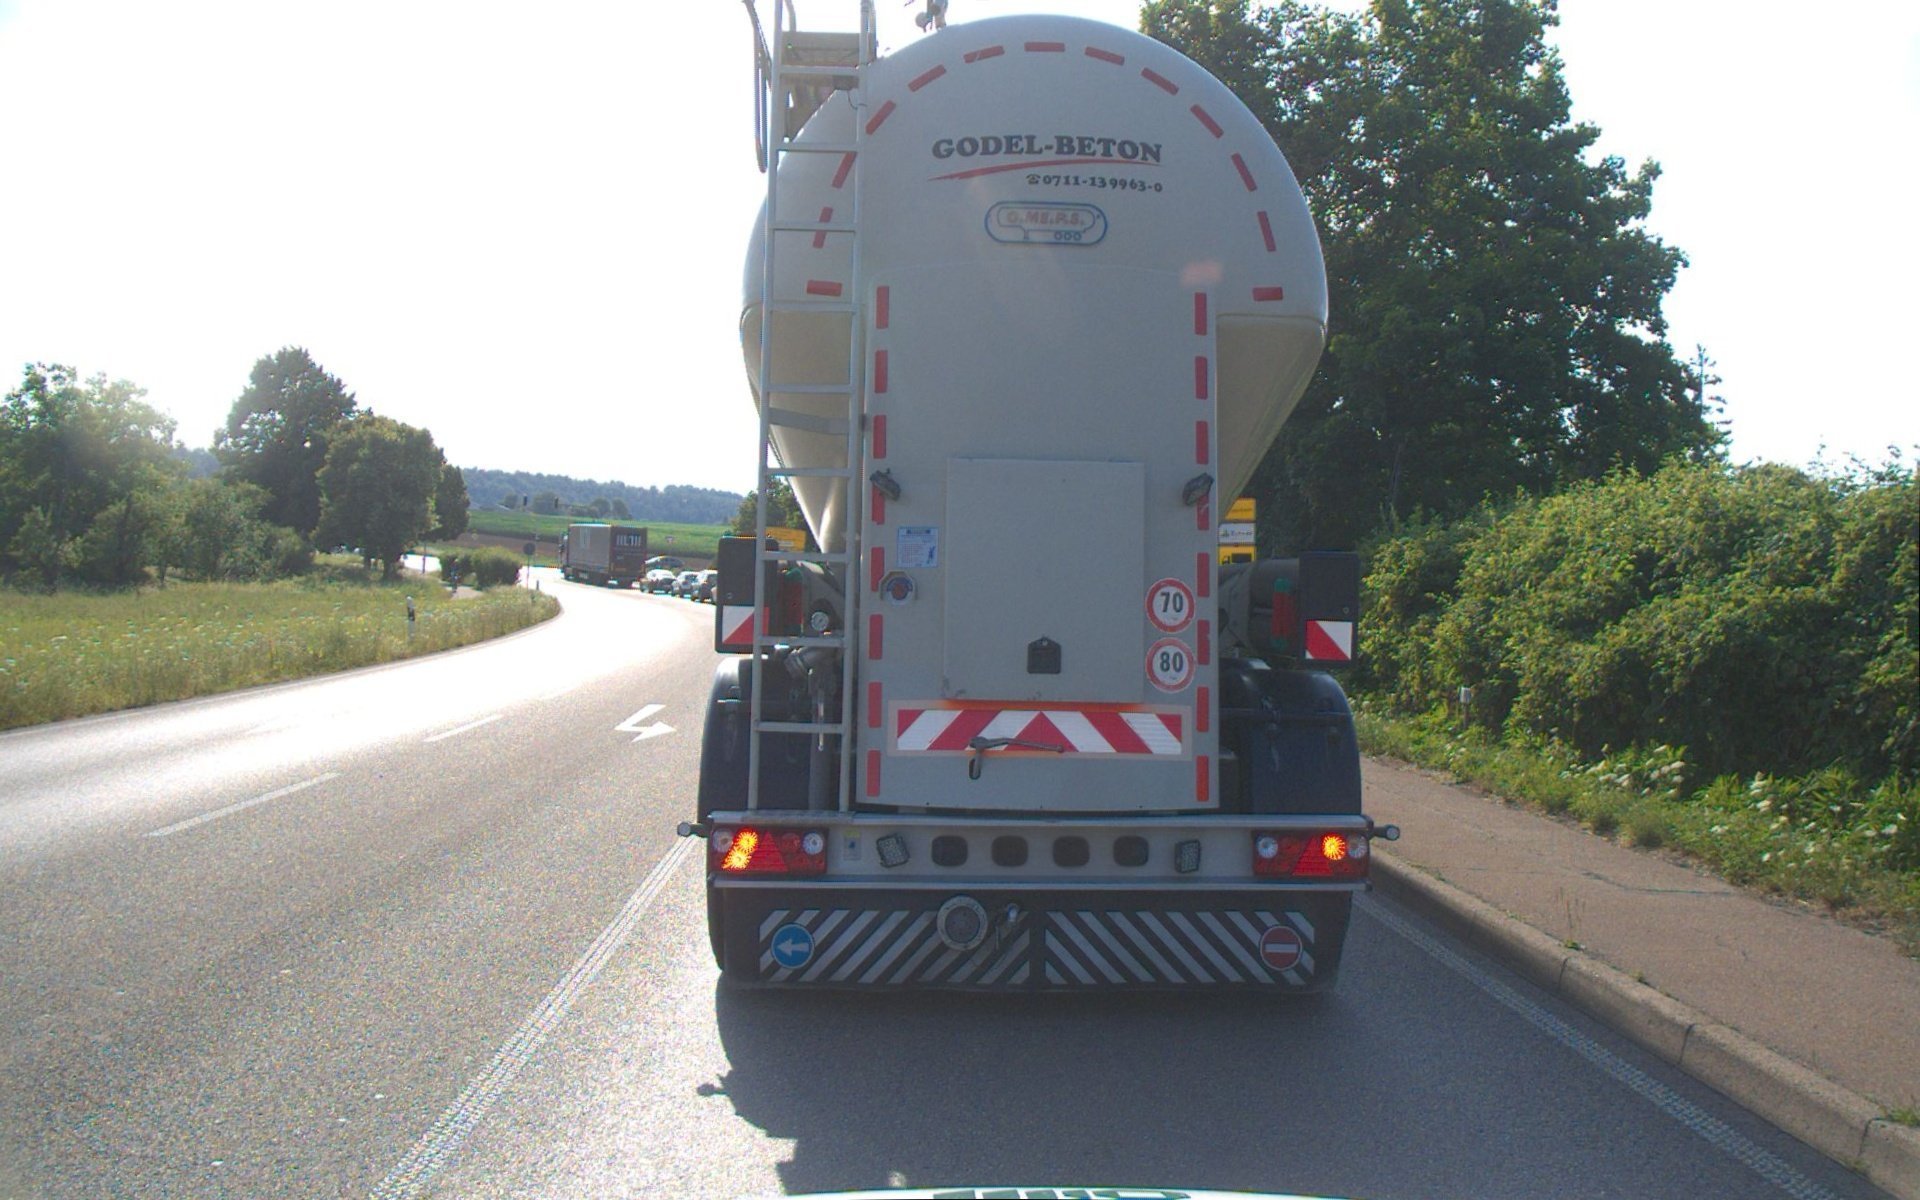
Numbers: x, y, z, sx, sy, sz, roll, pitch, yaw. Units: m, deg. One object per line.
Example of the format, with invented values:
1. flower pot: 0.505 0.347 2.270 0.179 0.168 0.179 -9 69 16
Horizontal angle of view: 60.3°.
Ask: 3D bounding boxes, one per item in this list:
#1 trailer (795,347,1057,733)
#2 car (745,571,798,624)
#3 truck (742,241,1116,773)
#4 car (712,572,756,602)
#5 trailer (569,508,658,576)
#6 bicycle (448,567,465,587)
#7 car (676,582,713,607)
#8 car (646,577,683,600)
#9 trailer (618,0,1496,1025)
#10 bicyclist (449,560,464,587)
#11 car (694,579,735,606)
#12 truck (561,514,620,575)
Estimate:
1. trailer: -0.471 -0.741 26.383 2.895 4.390 14.173 2 0 -1
2. car: -7.673 -0.126 67.031 1.828 2.049 3.709 1 0 -11
3. truck: -0.390 -0.712 14.882 2.853 4.076 4.056 1 0 -5
4. car: -11.135 -0.635 81.333 1.556 1.364 3.408 2 0 -18
5. trailer: -25.124 -4.088 119.239 3.331 4.426 14.190 2 0 -23
6. bicycle: -27.398 -1.245 90.024 0.623 1.093 1.667 3 0 -9
7. car: -15.362 -0.332 95.569 1.556 1.364 3.408 2 0 -18
8. car: -18.203 -0.707 101.861 1.743 1.226 3.408 -5 3 -18
9. trailer: -0.027 -0.684 10.363 2.852 4.076 9.921 1 0 -5
10. bicyclist: -27.378 -1.448 89.955 0.623 1.444 0.689 3 0 -9
11. car: -13.011 -0.413 87.437 1.556 1.364 3.408 2 0 -18
12. truck: -28.331 -4.211 126.651 3.331 4.426 5.664 2 0 -24
